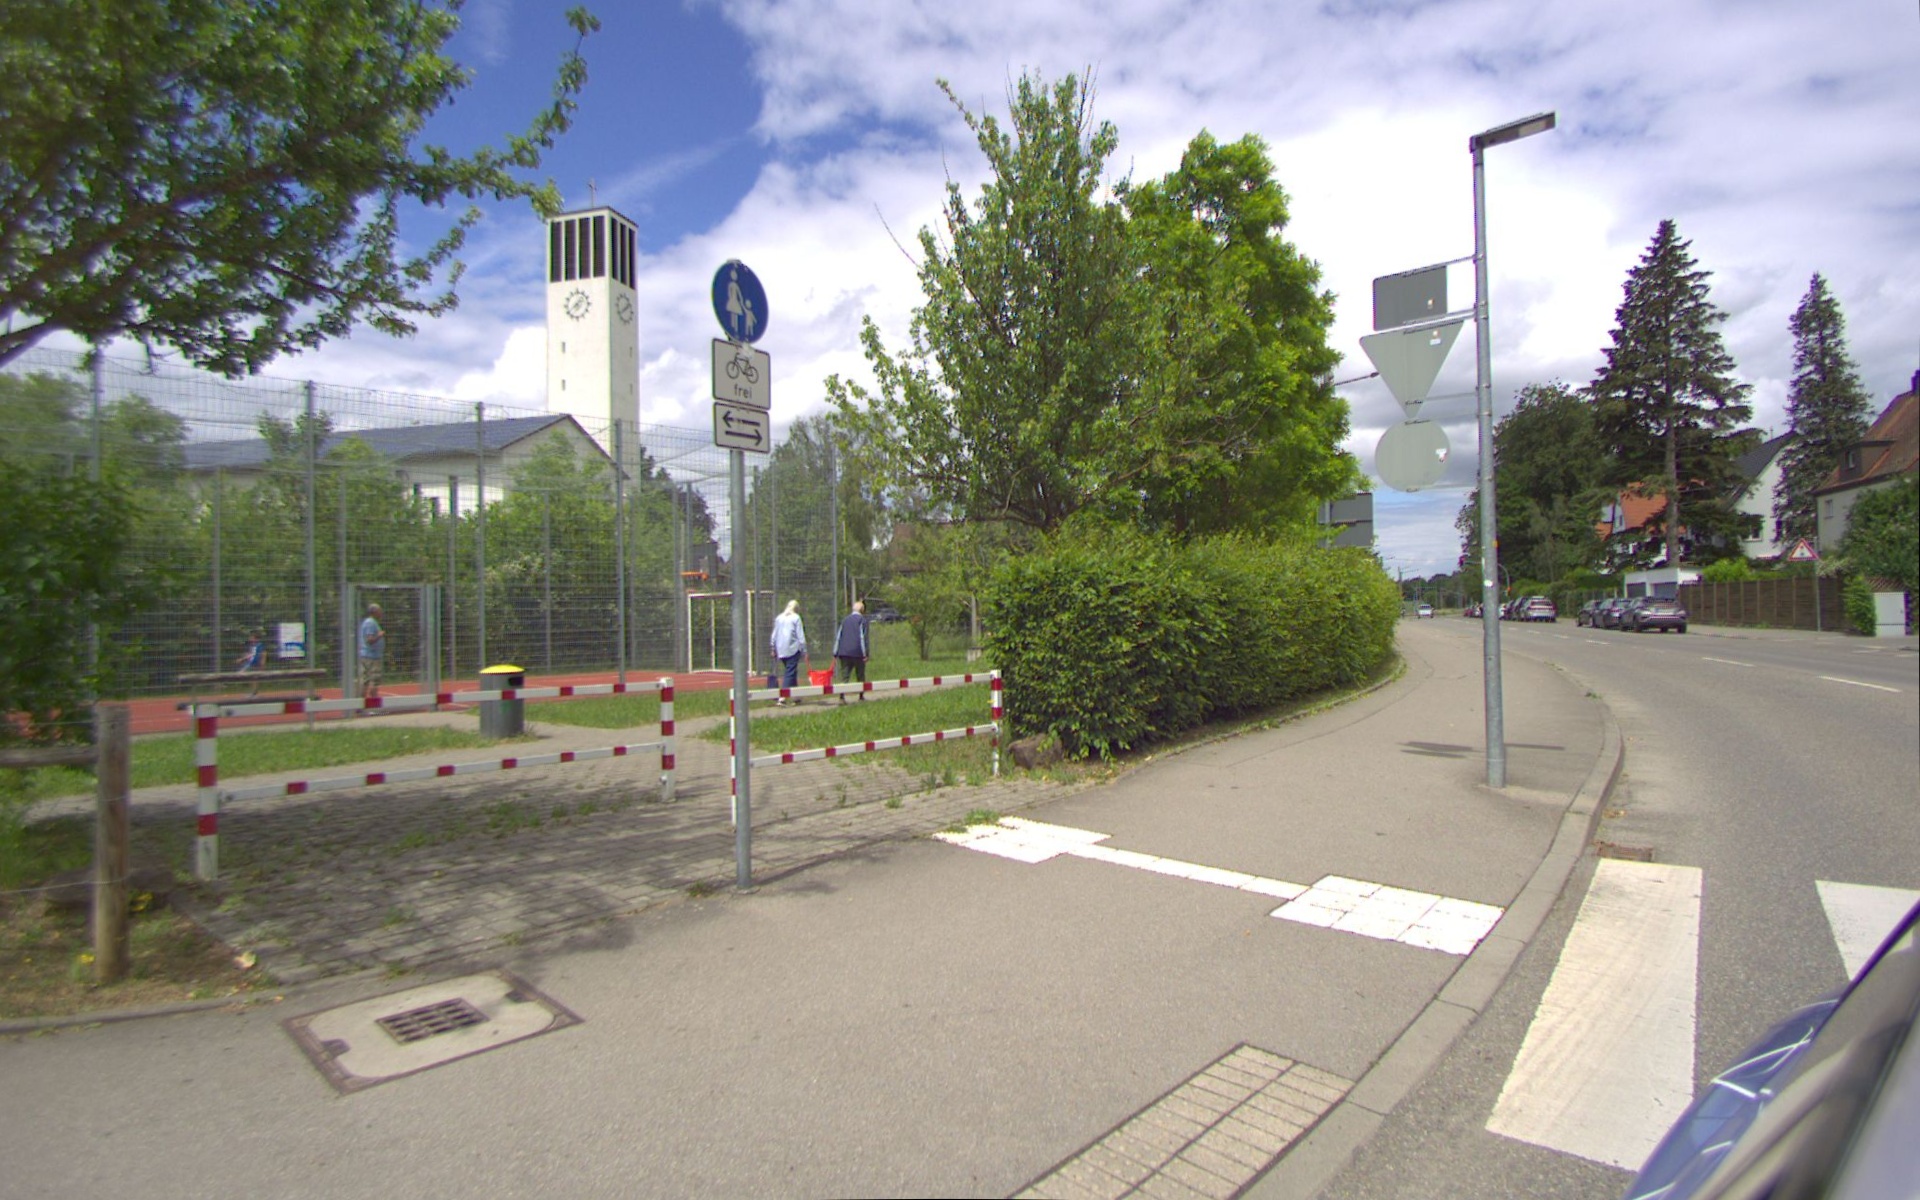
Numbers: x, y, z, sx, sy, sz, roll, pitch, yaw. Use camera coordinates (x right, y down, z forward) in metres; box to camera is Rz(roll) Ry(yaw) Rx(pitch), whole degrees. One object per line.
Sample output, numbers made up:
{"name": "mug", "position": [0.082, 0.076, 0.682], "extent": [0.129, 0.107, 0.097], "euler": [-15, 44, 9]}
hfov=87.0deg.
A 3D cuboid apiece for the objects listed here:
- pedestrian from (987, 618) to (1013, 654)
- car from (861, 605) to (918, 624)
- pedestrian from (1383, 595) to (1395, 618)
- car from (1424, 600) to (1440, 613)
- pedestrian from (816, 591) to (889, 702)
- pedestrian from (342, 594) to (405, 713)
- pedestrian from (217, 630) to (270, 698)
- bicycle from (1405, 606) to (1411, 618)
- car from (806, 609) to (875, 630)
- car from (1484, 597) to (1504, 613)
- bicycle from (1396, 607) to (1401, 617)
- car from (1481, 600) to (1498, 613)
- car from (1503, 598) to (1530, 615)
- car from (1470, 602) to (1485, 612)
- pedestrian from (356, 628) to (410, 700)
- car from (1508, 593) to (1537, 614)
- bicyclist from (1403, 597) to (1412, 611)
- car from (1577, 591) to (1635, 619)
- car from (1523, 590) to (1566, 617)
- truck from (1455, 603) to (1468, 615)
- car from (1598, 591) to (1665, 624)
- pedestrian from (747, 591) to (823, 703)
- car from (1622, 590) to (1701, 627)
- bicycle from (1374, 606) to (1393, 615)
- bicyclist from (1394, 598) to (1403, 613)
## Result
{"name": "pedestrian", "position": [1.427, 1.265, 36.043], "extent": [0.563, 1.249, 0.787], "euler": [-1, -1, 39]}
{"name": "car", "position": [-5.178, 1.041, 74.675], "extent": [1.990, 1.349, 3.943], "euler": [-1, -1, 39]}
{"name": "pedestrian", "position": [31.533, 0.482, 74.408], "extent": [0.682, 1.680, 0.683], "euler": [-4, -2, 29]}
{"name": "car", "position": [56.059, 0.803, 120.218], "extent": [1.649, 1.420, 3.866], "euler": [-2, -1, 25]}
{"name": "pedestrian", "position": [-1.718, 0.738, 16.326], "extent": [0.881, 1.715, 0.928], "euler": [-3, -2, 10]}
{"name": "pedestrian", "position": [-9.556, 0.860, 16.495], "extent": [0.739, 1.863, 0.551], "euler": [-1, -3, -44]}
{"name": "pedestrian", "position": [-15.162, 1.341, 21.414], "extent": [0.782, 1.364, 0.463], "euler": [-2, -2, -16]}
{"name": "bicycle", "position": [48.865, 1.335, 110.445], "extent": [0.446, 1.302, 2.192], "euler": [-3, -2, 20]}
{"name": "car", "position": [-8.337, 1.363, 71.033], "extent": [1.990, 1.349, 4.755], "euler": [-1, -1, 39]}
{"name": "car", "position": [59.619, 0.604, 113.011], "extent": [1.663, 1.781, 4.569], "euler": [0, -1, 24]}
{"name": "bicycle", "position": [48.003, 1.309, 110.867], "extent": [0.446, 1.164, 2.189], "euler": [-2, -1, 24]}
{"name": "car", "position": [61.653, 0.799, 117.826], "extent": [1.695, 1.471, 4.313], "euler": [1, 0, 28]}
{"name": "car", "position": [48.938, 0.553, 89.056], "extent": [1.793, 1.478, 5.023], "euler": [0, -1, 25]}
{"name": "car", "position": [80.089, 1.108, 156.529], "extent": [1.953, 1.420, 4.028], "euler": [-2, -1, 26]}
{"name": "pedestrian", "position": [-11.384, 1.256, 19.967], "extent": [0.457, 1.364, 0.792], "euler": [-3, -2, 24]}
{"name": "car", "position": [46.194, 0.311, 83.118], "extent": [1.613, 1.699, 4.546], "euler": [1, 0, 23]}
{"name": "bicyclist", "position": [48.930, 0.442, 110.614], "extent": [0.817, 1.558, 0.855], "euler": [-3, -2, 23]}
{"name": "car", "position": [33.705, 0.282, 52.891], "extent": [1.635, 1.445, 3.882], "euler": [0, -1, 18]}
{"name": "car", "position": [41.452, 0.253, 71.858], "extent": [1.969, 1.842, 4.670], "euler": [-2, -1, 23]}
{"name": "truck", "position": [99.907, 1.756, 201.750], "extent": [2.173, 2.402, 6.844], "euler": [0, -1, 25]}
{"name": "car", "position": [31.891, 0.334, 48.196], "extent": [1.852, 1.478, 4.452], "euler": [-2, -1, 24]}
{"name": "pedestrian", "position": [-2.796, 0.739, 16.231], "extent": [0.881, 1.715, 0.928], "euler": [-3, -2, 10]}
{"name": "car", "position": [29.881, 0.352, 43.263], "extent": [1.979, 1.498, 4.607], "euler": [0, 0, 25]}
{"name": "bicycle", "position": [55.187, 1.354, 131.911], "extent": [2.183, 1.061, 0.447], "euler": [-2, -2, 24]}
{"name": "bicyclist", "position": [48.095, 0.609, 110.955], "extent": [0.818, 1.558, 0.854], "euler": [-2, -2, 24]}
